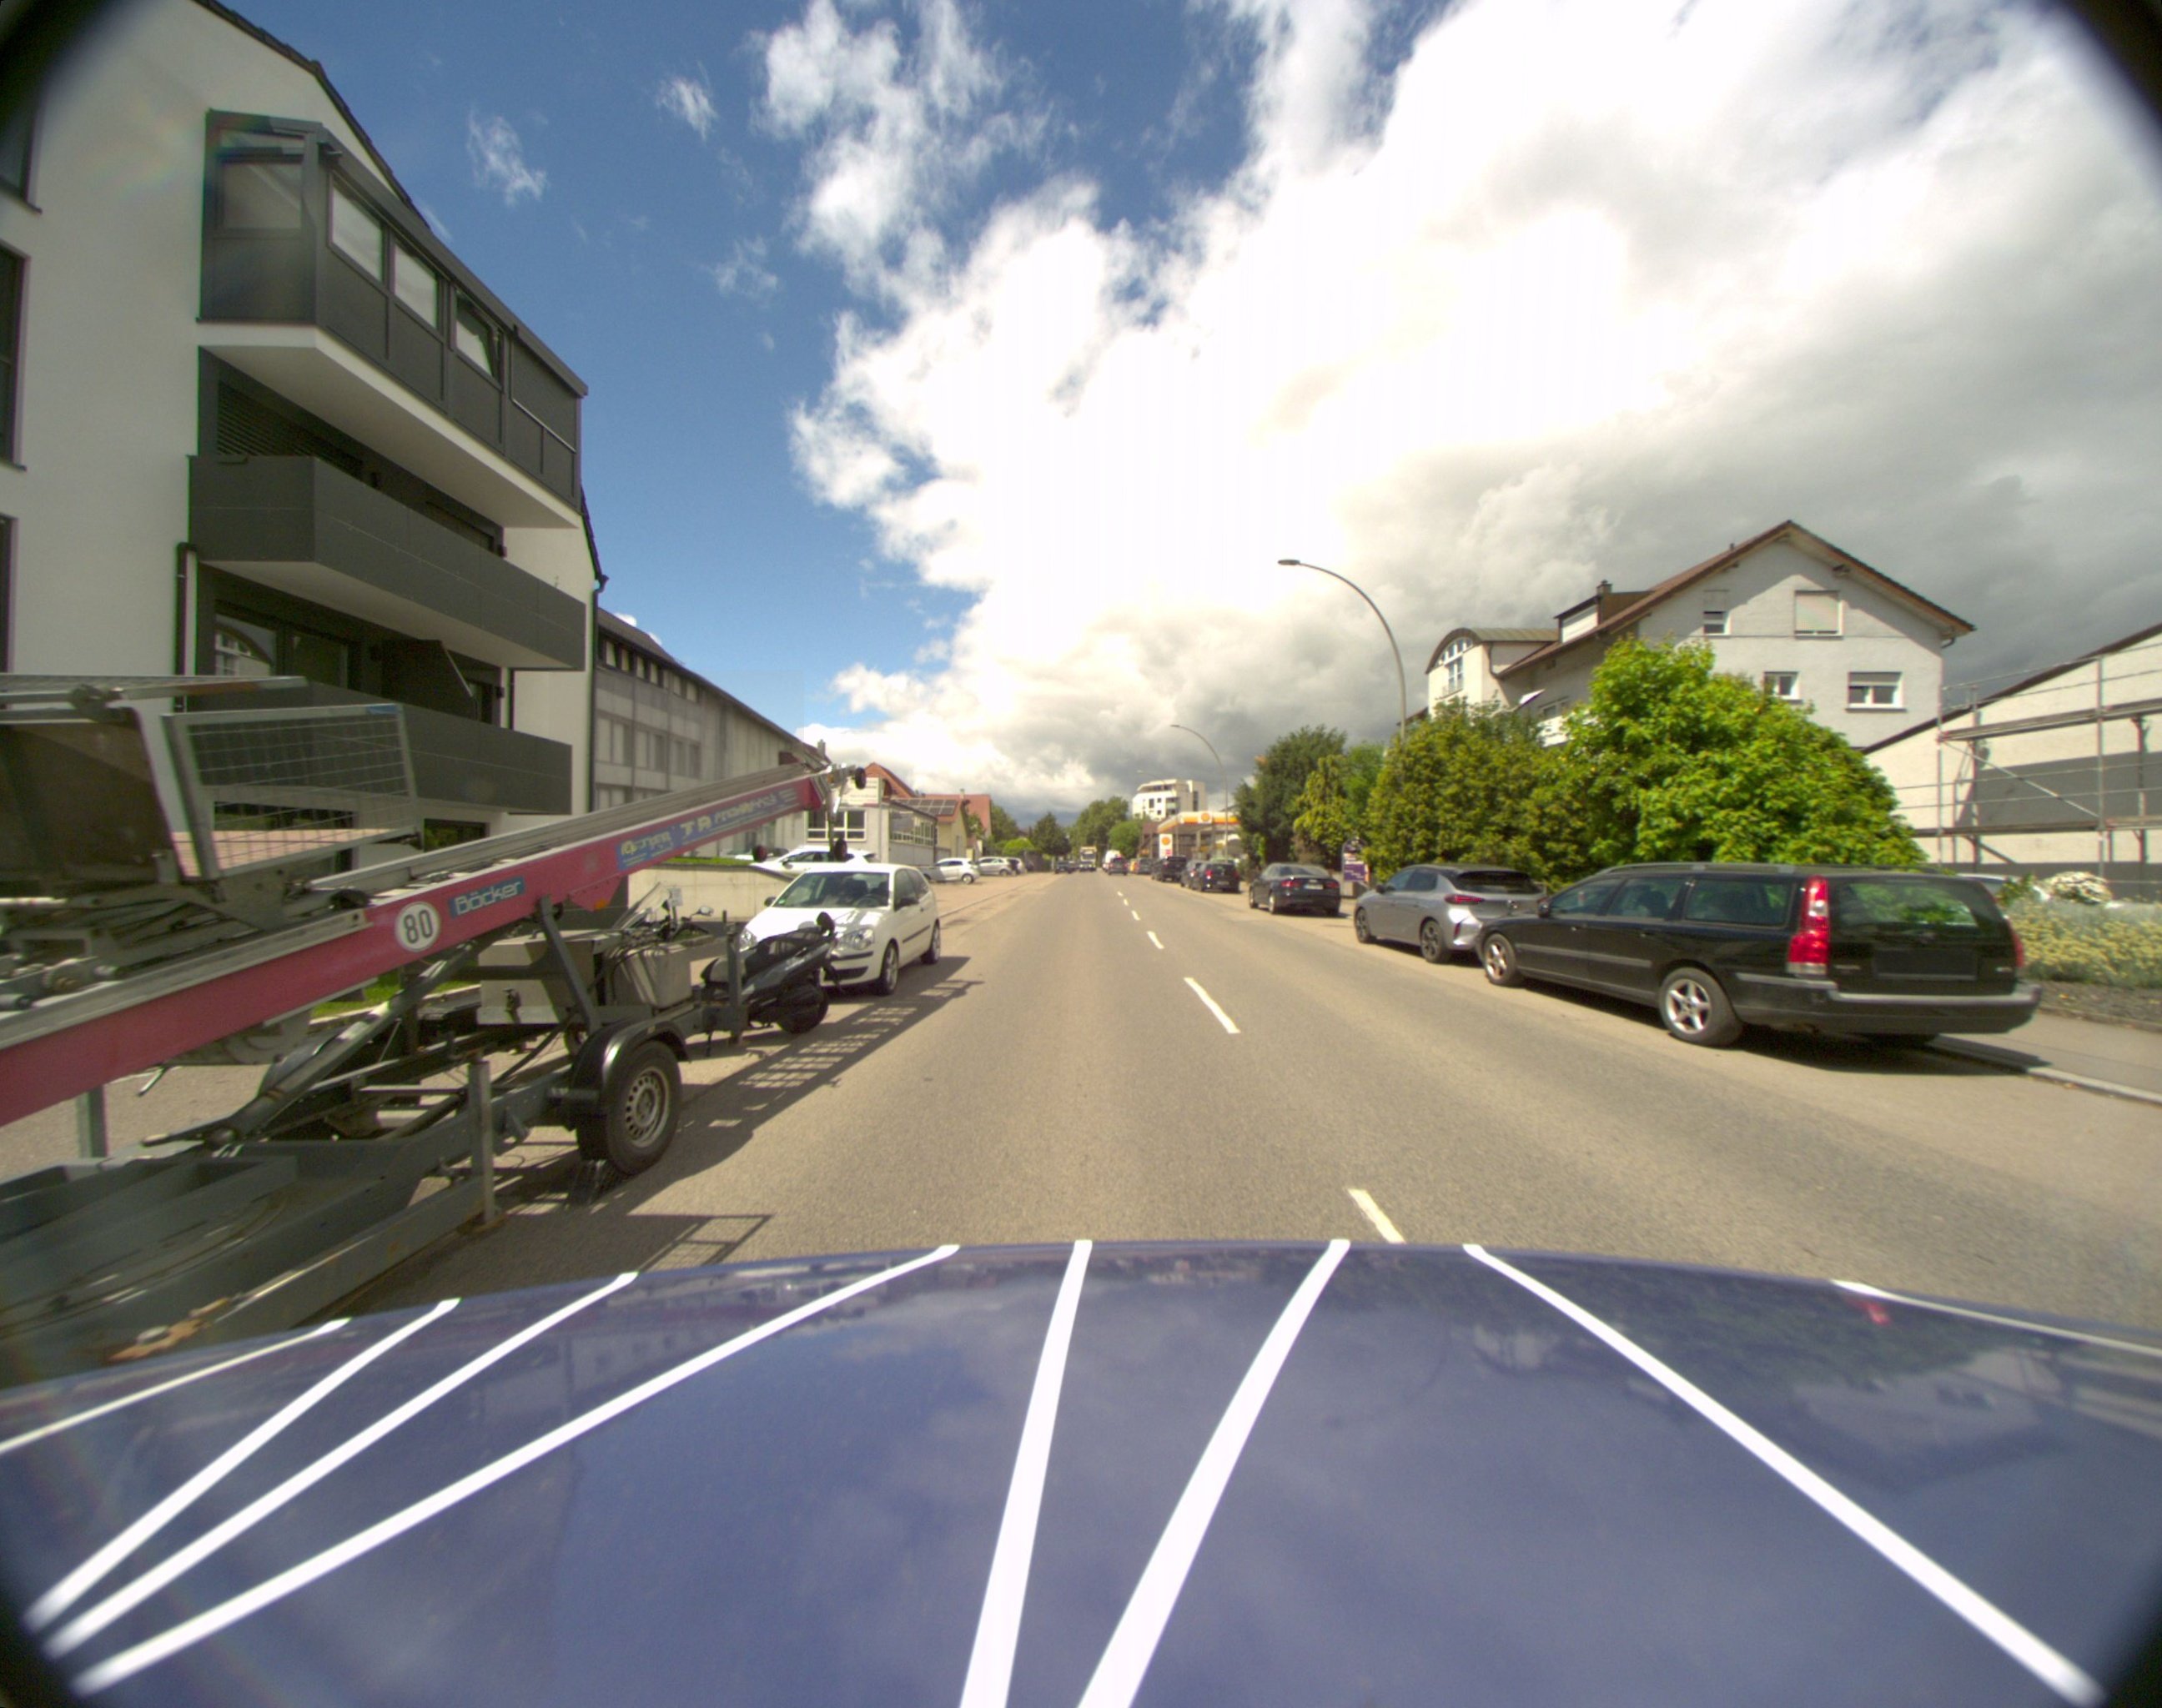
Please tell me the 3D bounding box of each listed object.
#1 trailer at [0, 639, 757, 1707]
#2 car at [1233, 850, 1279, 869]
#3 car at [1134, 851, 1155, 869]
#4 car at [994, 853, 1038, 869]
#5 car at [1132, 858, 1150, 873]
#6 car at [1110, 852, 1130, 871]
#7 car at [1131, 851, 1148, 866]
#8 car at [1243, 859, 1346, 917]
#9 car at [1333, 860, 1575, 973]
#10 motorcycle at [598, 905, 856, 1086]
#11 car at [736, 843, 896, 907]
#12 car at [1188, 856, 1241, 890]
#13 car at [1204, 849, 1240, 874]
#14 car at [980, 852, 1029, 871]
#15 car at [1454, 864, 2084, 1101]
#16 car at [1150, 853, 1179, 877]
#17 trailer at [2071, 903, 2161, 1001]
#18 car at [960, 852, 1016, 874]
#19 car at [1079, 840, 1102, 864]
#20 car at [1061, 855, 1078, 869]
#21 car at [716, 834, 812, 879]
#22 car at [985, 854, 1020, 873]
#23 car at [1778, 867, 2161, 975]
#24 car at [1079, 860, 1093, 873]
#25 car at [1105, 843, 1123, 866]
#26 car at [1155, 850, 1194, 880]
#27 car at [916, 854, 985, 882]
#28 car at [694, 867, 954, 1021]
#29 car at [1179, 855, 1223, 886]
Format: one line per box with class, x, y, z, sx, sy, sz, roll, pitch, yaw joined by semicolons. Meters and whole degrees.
trailer;-3.026;0.637;2.926;1.777;2.132;4.114;0;0;0
car;17.499;0.520;75.920;4.993;1.841;1.970;-1;0;-41
car;6.469;0.596;77.718;1.733;1.727;4.190;3;0;0
car;-6.808;0.716;79.556;4.419;1.399;1.974;3;0;-2
car;6.595;1.293;83.694;1.667;1.505;4.190;3;0;0
car;3.813;0.680;74.921;1.667;1.785;4.338;1;0;-1
car;6.799;0.517;88.527;1.666;1.505;3.945;3;0;1
car;5.857;0.867;21.344;1.667;1.406;4.338;1;0;0
car;5.665;0.849;12.200;1.724;1.423;4.199;2;0;-1
motorcycle;-2.875;1.068;6.248;1.826;1.203;0.715;0;0;-34
car;-8.087;0.620;23.500;4.202;1.644;1.867;3;0;0
car;6.087;0.835;34.993;1.667;1.427;4.338;2;0;0
car;10.398;0.515;56.421;1.797;1.775;4.338;-1;0;0
car;-7.209;0.702;71.731;4.419;1.516;1.974;3;0;-2
car;5.679;0.877;7.351;1.724;1.484;4.735;1;0;-1
car;6.255;0.783;57.373;1.667;1.670;4.526;2;0;0
trailer;13.665;1.201;7.977;1.563;1.119;3.814;0;0;0
car;-7.730;0.706;63.326;4.419;1.599;1.974;3;0;-2
car;1.424;-0.266;121.758;3.263;3.595;10.269;-1;-1;-1
car;-1.311;0.972;88.918;1.789;1.548;4.317;-1;0;1
car;-11.930;0.138;28.863;1.634;1.510;3.667;3;-1;8
car;-6.958;0.847;67.668;2.896;1.516;1.974;3;0;-2
car;14.663;1.010;12.943;3.987;1.379;1.897;3;1;40
car;0.779;1.783;107.020;1.891;1.708;4.000;1;1;1
car;4.185;0.096;96.537;1.997;2.749;6.164;1;0;0
car;6.230;0.695;51.129;1.915;1.810;5.429;3;0;0
car;-8.102;0.851;47.417;3.909;1.599;1.749;-2;0;-1
car;-2.917;0.932;9.594;1.723;1.423;3.984;2;0;3
car;6.242;0.829;39.974;1.667;1.502;3.945;3;0;0
